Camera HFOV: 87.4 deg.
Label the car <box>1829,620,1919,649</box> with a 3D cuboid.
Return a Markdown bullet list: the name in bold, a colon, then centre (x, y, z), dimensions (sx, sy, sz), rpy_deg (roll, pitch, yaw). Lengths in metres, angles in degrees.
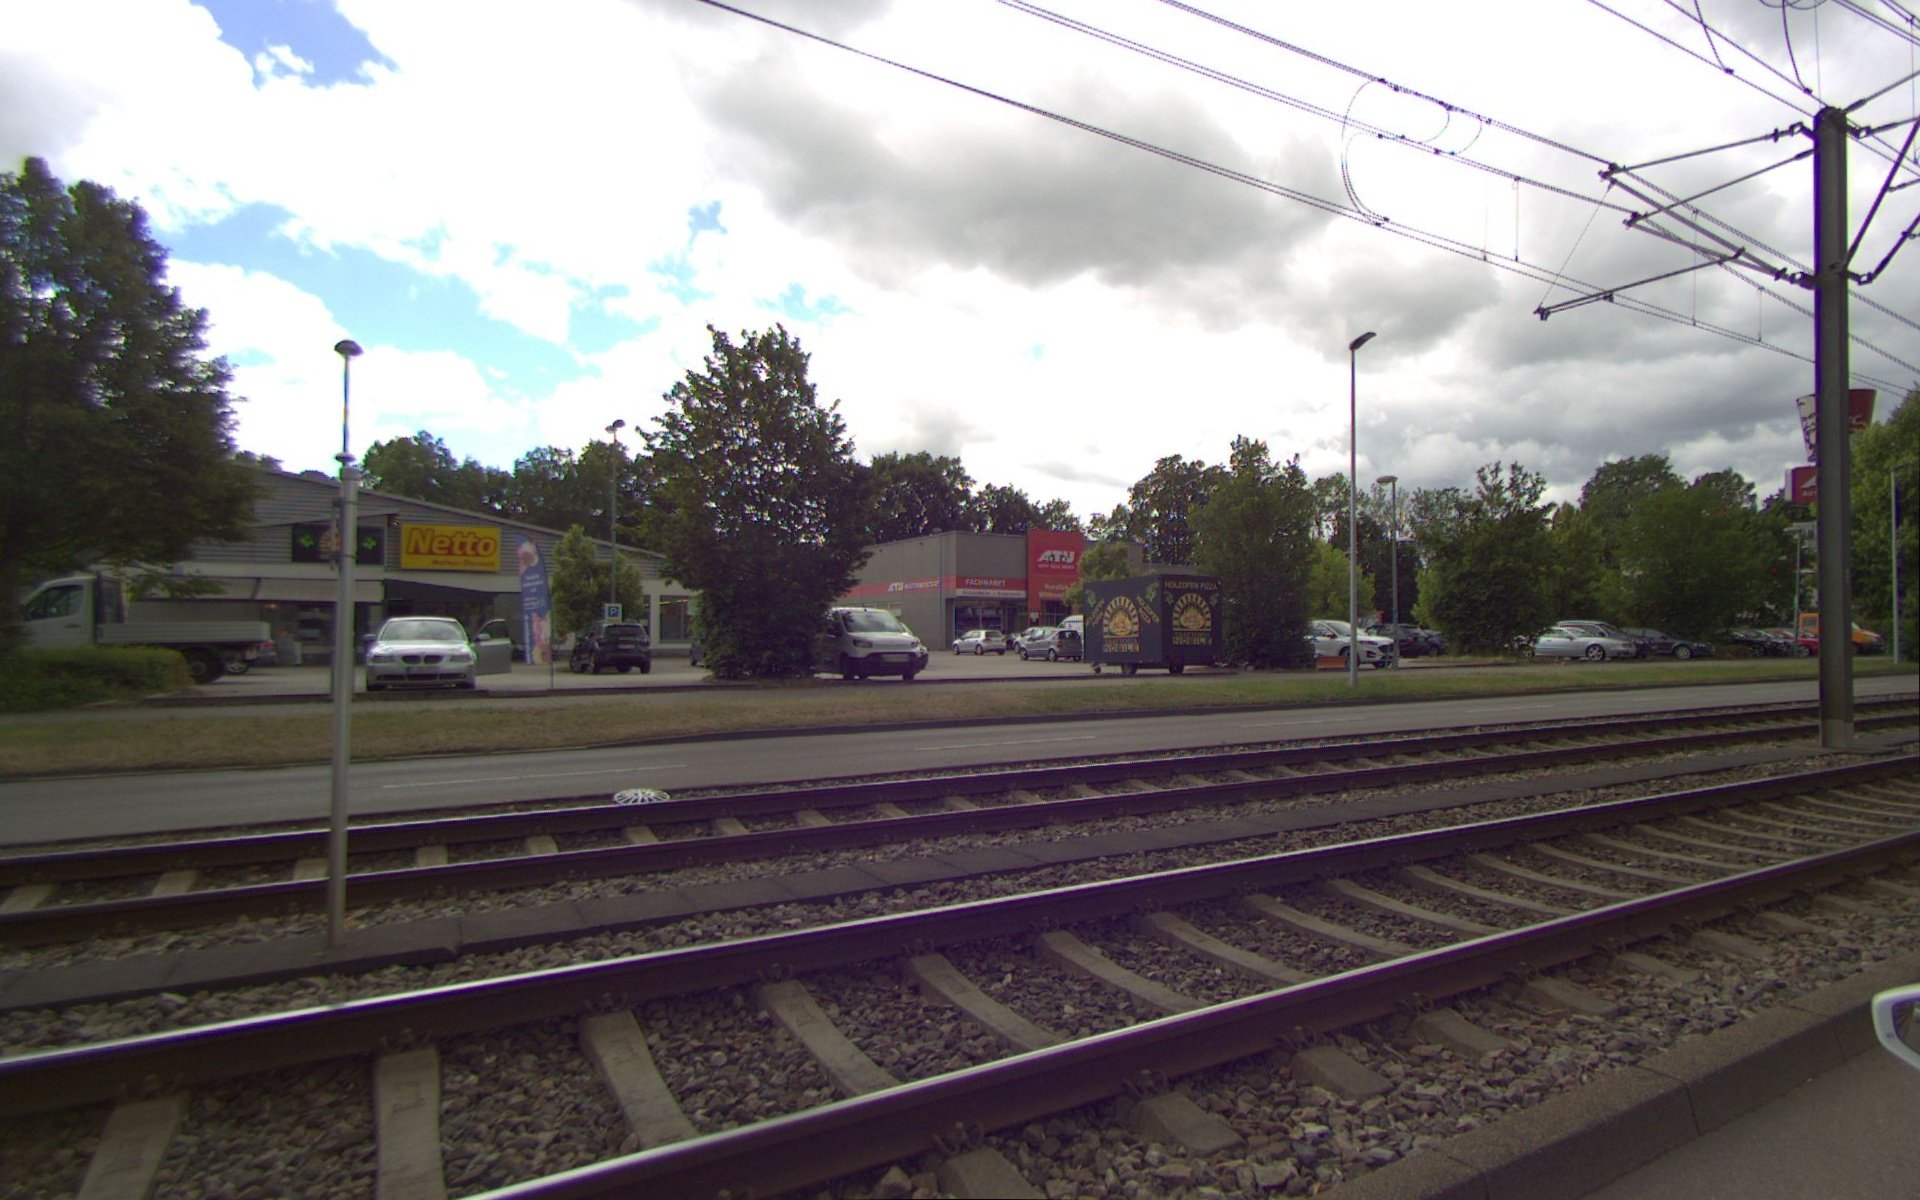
- **car**: centre (54.026, 2.036, 59.162), dimensions (1.778, 1.620, 3.963), rpy_deg (1, -2, -34)

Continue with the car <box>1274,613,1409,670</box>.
- **car**: centre (12.946, 1.394, 34.268), dimensions (1.858, 1.821, 3.963), rpy_deg (1, -2, -34)

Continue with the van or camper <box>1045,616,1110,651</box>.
- **van or camper**: centre (7.429, 2.136, 63.855), dimensions (1.803, 2.173, 4.235), rpy_deg (1, -2, -34)

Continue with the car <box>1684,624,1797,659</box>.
- **car**: centre (38.069, 2.020, 49.078), dimensions (1.858, 1.620, 3.963), rpy_deg (1, -2, -34)

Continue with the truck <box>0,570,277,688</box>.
- **truck**: centre (-18.516, 0.658, 22.445), dimensions (5.202, 2.414, 1.984), rpy_deg (1, -2, -30)

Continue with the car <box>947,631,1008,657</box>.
- **car**: centre (1.005, 2.590, 59.760), dimensions (1.752, 1.491, 3.716), rpy_deg (1, -2, -36)

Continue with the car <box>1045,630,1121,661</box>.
- **car**: centre (6.069, 2.244, 49.942), dimensions (1.664, 1.491, 3.716), rpy_deg (1, -2, -36)

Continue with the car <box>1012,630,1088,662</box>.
- **car**: centre (4.334, 2.204, 48.886), dimensions (1.664, 1.491, 3.716), rpy_deg (1, -2, -36)

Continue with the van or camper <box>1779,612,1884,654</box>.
- **van or camper**: centre (46.967, 1.748, 54.200), dimensions (1.858, 2.163, 3.962), rpy_deg (1, 0, -34)

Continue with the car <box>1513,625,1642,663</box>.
- **car**: centre (25.544, 1.773, 41.711), dimensions (1.661, 1.491, 4.284), rpy_deg (1, -1, -31)

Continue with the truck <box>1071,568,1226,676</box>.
- **truck**: centre (5.370, 0.663, 29.060), dimensions (2.350, 2.859, 3.966), rpy_deg (1, -2, -32)

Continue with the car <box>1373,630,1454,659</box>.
- **car**: centre (24.826, 2.416, 55.052), dimensions (1.664, 1.491, 3.716), rpy_deg (1, -2, -36)

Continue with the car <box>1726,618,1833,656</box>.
- **car**: centre (42.418, 1.881, 52.071), dimensions (1.858, 1.821, 3.962), rpy_deg (1, -1, -34)

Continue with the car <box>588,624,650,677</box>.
- **car**: centre (-11.184, 1.597, 32.800), dimensions (1.669, 1.617, 3.979), rpy_deg (0, -2, -23)

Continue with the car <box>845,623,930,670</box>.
- **car**: centre (-2.766, 1.733, 37.637), dimensions (1.668, 1.661, 3.903), rpy_deg (1, -2, -30)

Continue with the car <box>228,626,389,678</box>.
- **car**: centre (-19.514, 1.529, 30.183), dimensions (3.961, 1.419, 1.599), rpy_deg (1, 0, -36)

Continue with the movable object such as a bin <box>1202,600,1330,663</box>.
- **movable object such as a bin**: centre (10.098, 1.069, 33.390), dimensions (1.661, 1.963, 3.964), rpy_deg (1, -2, -33)

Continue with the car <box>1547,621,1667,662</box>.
- **car**: centre (27.742, 1.766, 43.171), dimensions (1.858, 1.656, 3.963), rpy_deg (1, -2, -34)

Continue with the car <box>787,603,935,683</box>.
- **car**: centre (-2.506, 1.026, 24.469), dimensions (1.973, 1.750, 4.199), rpy_deg (1, -2, -31)

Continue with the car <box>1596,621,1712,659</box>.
- **car**: centre (31.561, 1.814, 45.755), dimensions (1.858, 1.620, 3.963), rpy_deg (1, -2, -34)

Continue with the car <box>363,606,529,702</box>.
- **car**: centre (-10.230, 0.997, 19.981), dimensions (2.619, 1.650, 4.762), rpy_deg (0, -1, -29)

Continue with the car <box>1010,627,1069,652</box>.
- **car**: centre (4.912, 2.458, 62.498), dimensions (1.664, 1.491, 3.716), rpy_deg (1, -2, -36)
